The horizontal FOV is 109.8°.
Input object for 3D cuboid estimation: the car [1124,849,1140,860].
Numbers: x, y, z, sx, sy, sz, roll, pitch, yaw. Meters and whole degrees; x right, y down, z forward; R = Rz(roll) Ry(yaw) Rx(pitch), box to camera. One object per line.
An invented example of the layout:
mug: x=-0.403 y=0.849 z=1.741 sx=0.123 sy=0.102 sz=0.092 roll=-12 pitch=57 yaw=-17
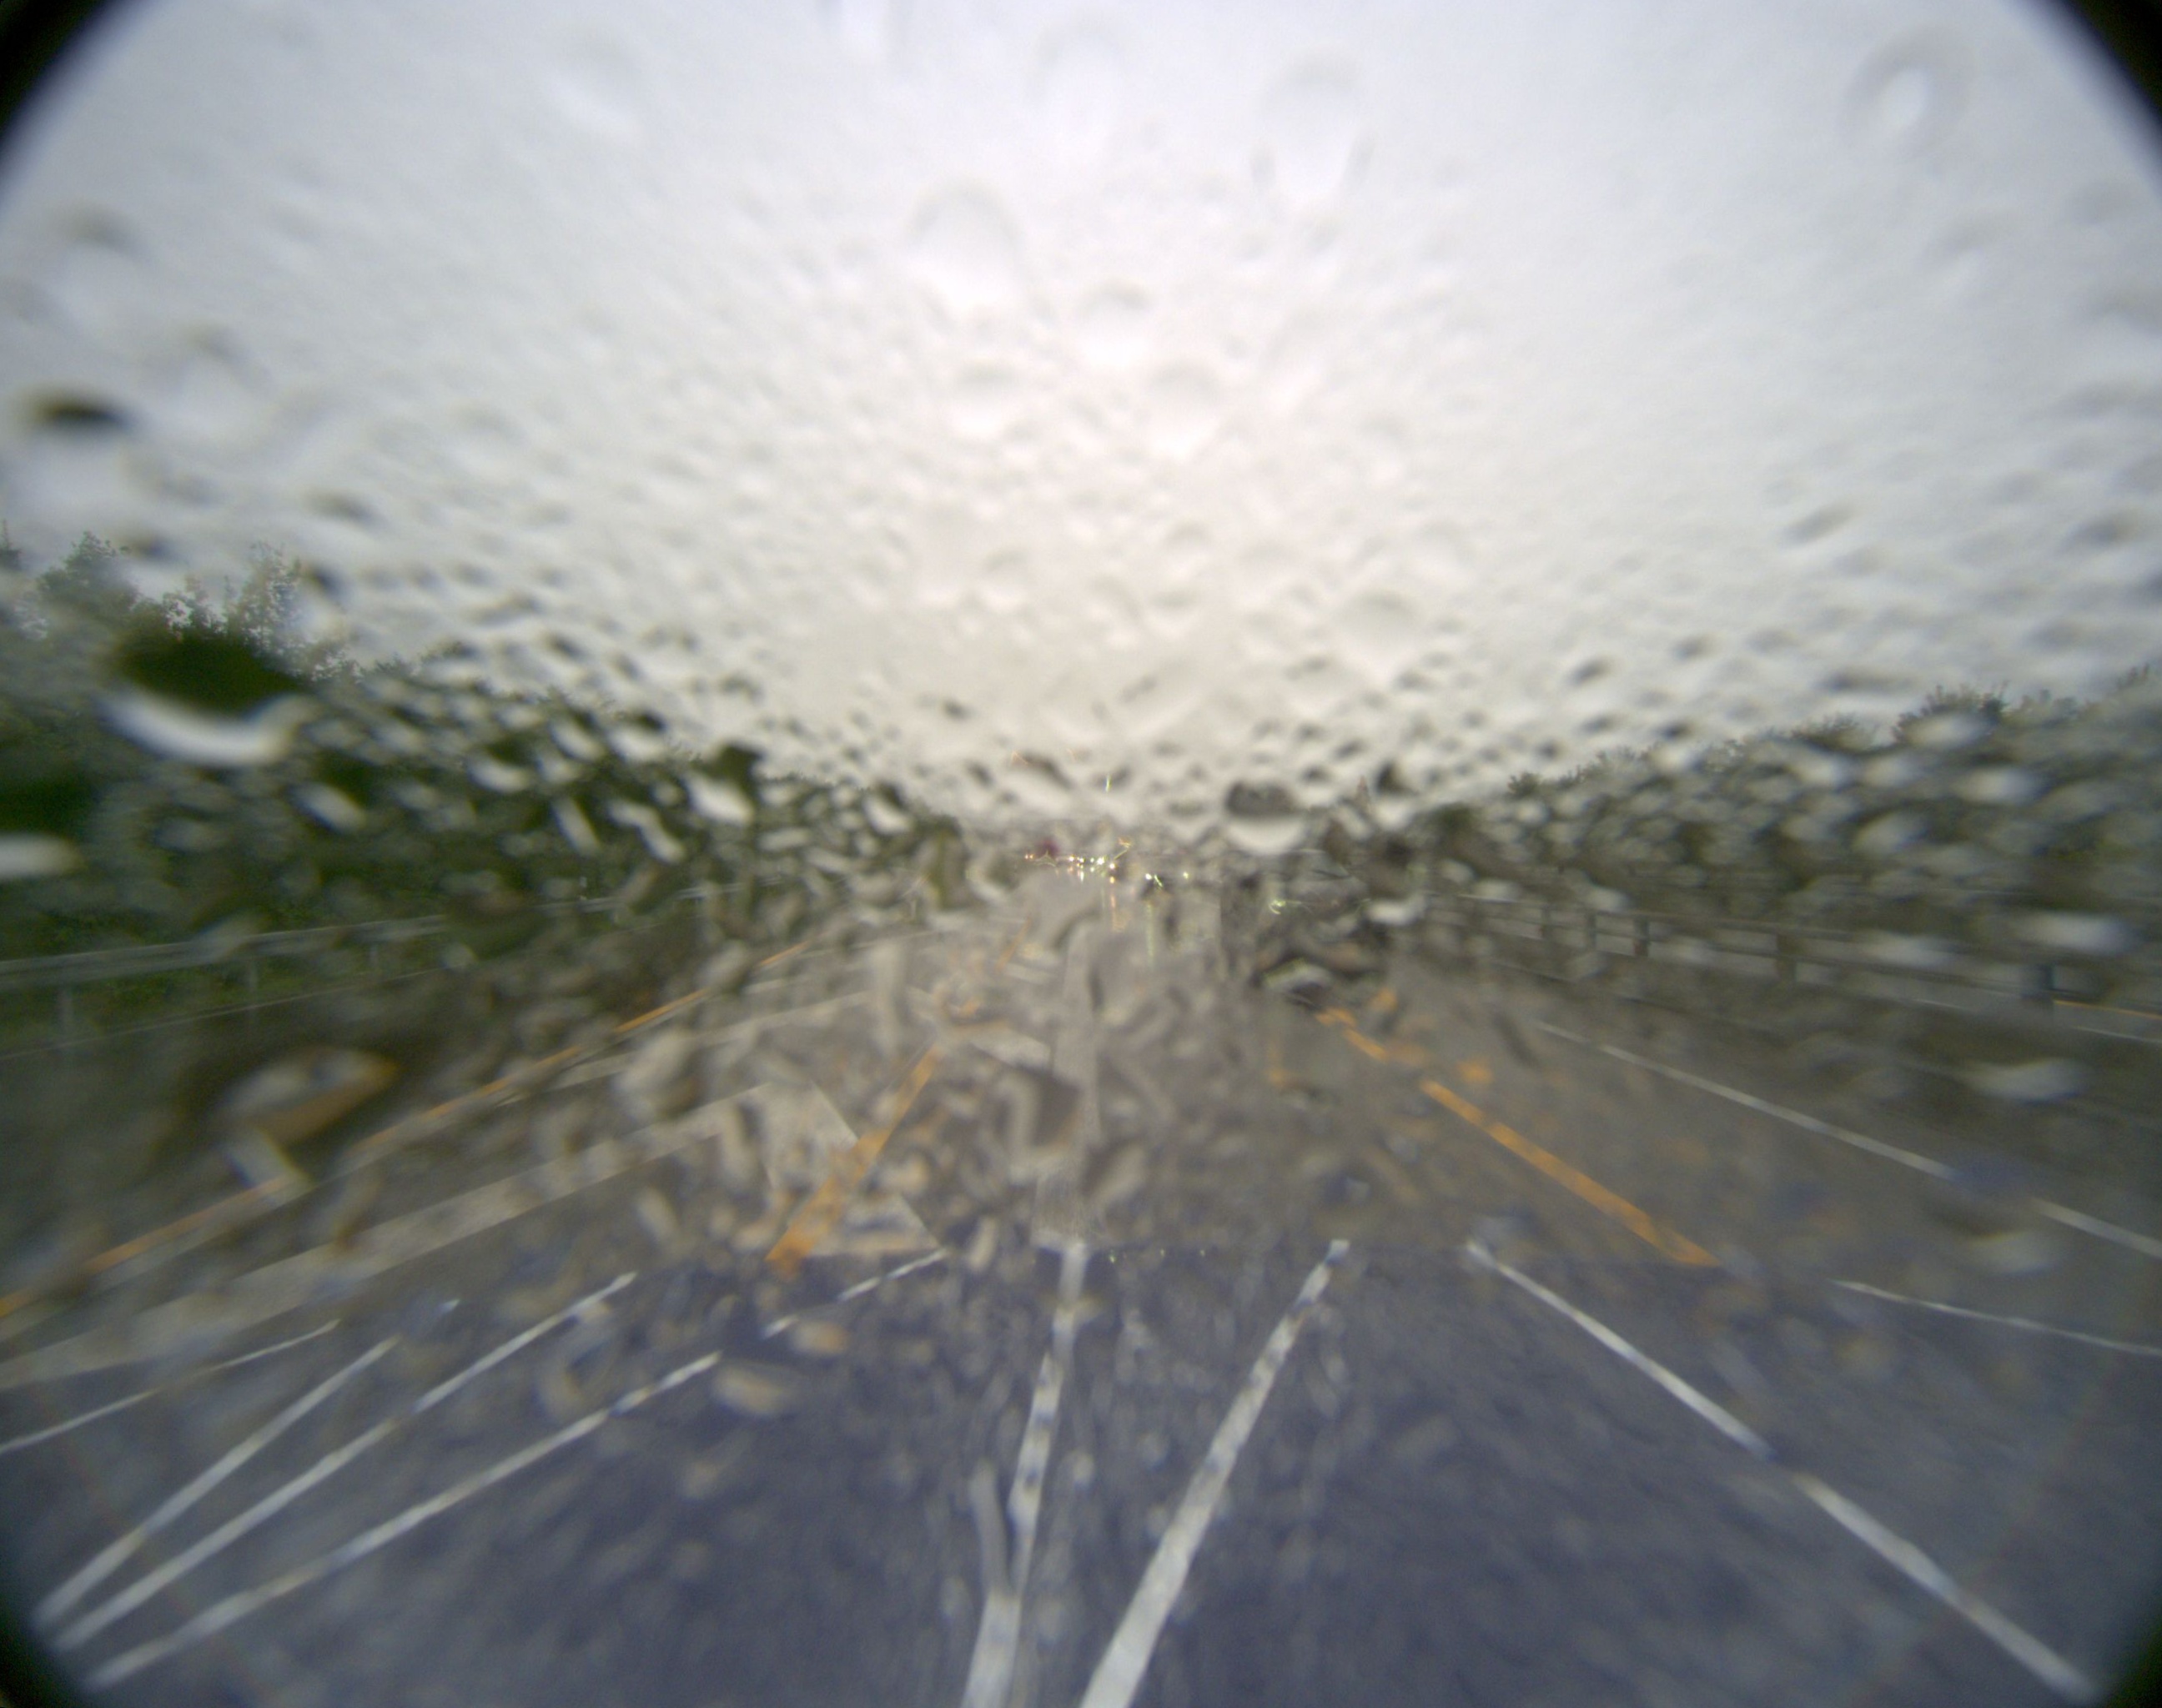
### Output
car: x=7.349 y=0.040 z=109.674 sx=1.705 sy=1.420 sz=3.831 roll=-2 pitch=0 yaw=-4

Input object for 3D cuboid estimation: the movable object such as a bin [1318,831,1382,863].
movable object such as a bin: x=25.686 y=-0.680 z=72.915 sx=3.774 sy=2.782 sz=6.329 roll=-2 pitch=0 yaw=0

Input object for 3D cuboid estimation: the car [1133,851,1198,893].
car: x=3.330 y=0.658 z=30.678 sx=1.999 sy=1.489 sz=4.630 roll=-2 pitch=0 yaw=-1

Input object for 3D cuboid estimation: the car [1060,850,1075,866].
car: x=-1.727 y=0.485 z=100.198 sx=1.881 sy=2.002 sz=3.999 roll=-2 pitch=1 yaw=-1

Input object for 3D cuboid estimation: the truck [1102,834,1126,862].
truck: x=5.928 y=-1.122 z=139.514 sx=3.283 sy=4.808 sz=15.982 roll=-2 pitch=0 yaw=-1

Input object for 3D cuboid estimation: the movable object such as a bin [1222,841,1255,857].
movable object such as a bin: x=23.654 y=-0.736 z=114.276 sx=3.448 sy=2.281 sz=5.097 roll=-2 pitch=0 yaw=-7

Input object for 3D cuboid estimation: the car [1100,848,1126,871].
car: x=3.020 y=0.481 z=73.474 sx=2.211 sy=2.002 sz=5.563 roll=-2 pitch=0 yaw=0

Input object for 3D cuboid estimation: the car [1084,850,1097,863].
car: x=1.389 y=0.316 z=110.141 sx=1.695 sy=1.740 sz=3.999 roll=-2 pitch=0 yaw=-1

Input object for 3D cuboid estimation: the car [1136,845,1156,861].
car: x=7.770 y=-0.121 z=90.956 sx=1.896 sy=1.796 sz=5.054 roll=-2 pitch=0 yaw=0

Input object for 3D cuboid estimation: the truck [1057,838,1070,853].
truck: x=-6.005 y=-2.698 z=257.764 sx=3.594 sy=4.808 sz=15.978 roll=-2 pitch=0 yaw=-4

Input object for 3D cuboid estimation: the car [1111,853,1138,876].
car: x=3.265 y=0.797 z=57.363 sx=1.978 sy=1.586 sz=4.311 roll=-1 pitch=-1 yaw=3

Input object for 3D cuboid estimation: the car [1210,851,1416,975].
car: x=3.475 y=0.784 z=12.358 sx=1.998 sy=1.576 sz=4.413 roll=-2 pitch=0 yaw=1

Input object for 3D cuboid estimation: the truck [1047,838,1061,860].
truck: x=-5.205 y=-1.014 z=148.989 sx=2.484 sy=4.060 sz=8.703 roll=-2 pitch=0 yaw=-1

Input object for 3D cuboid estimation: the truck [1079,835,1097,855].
truck: x=1.679 y=-2.166 z=193.470 sx=3.284 sy=4.808 sz=15.978 roll=-2 pitch=0 yaw=-4

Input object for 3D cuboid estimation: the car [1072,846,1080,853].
car: x=-1.560 y=-1.233 z=219.935 sx=1.897 sy=1.796 sz=5.053 roll=-2 pitch=0 yaw=-4

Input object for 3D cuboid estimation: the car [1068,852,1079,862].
car: x=-1.332 y=0.566 z=133.938 sx=1.845 sy=1.586 sz=3.999 roll=-2 pitch=0 yaw=-1

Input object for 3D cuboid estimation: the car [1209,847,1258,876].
car: x=9.615 y=0.432 z=48.351 sx=1.956 sy=1.707 sz=5.102 roll=-2 pitch=0 yaw=-1

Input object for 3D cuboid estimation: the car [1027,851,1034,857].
car: x=-15.983 y=-0.043 z=241.302 sx=1.752 sy=1.579 sz=3.999 roll=-2 pitch=0 yaw=-1
